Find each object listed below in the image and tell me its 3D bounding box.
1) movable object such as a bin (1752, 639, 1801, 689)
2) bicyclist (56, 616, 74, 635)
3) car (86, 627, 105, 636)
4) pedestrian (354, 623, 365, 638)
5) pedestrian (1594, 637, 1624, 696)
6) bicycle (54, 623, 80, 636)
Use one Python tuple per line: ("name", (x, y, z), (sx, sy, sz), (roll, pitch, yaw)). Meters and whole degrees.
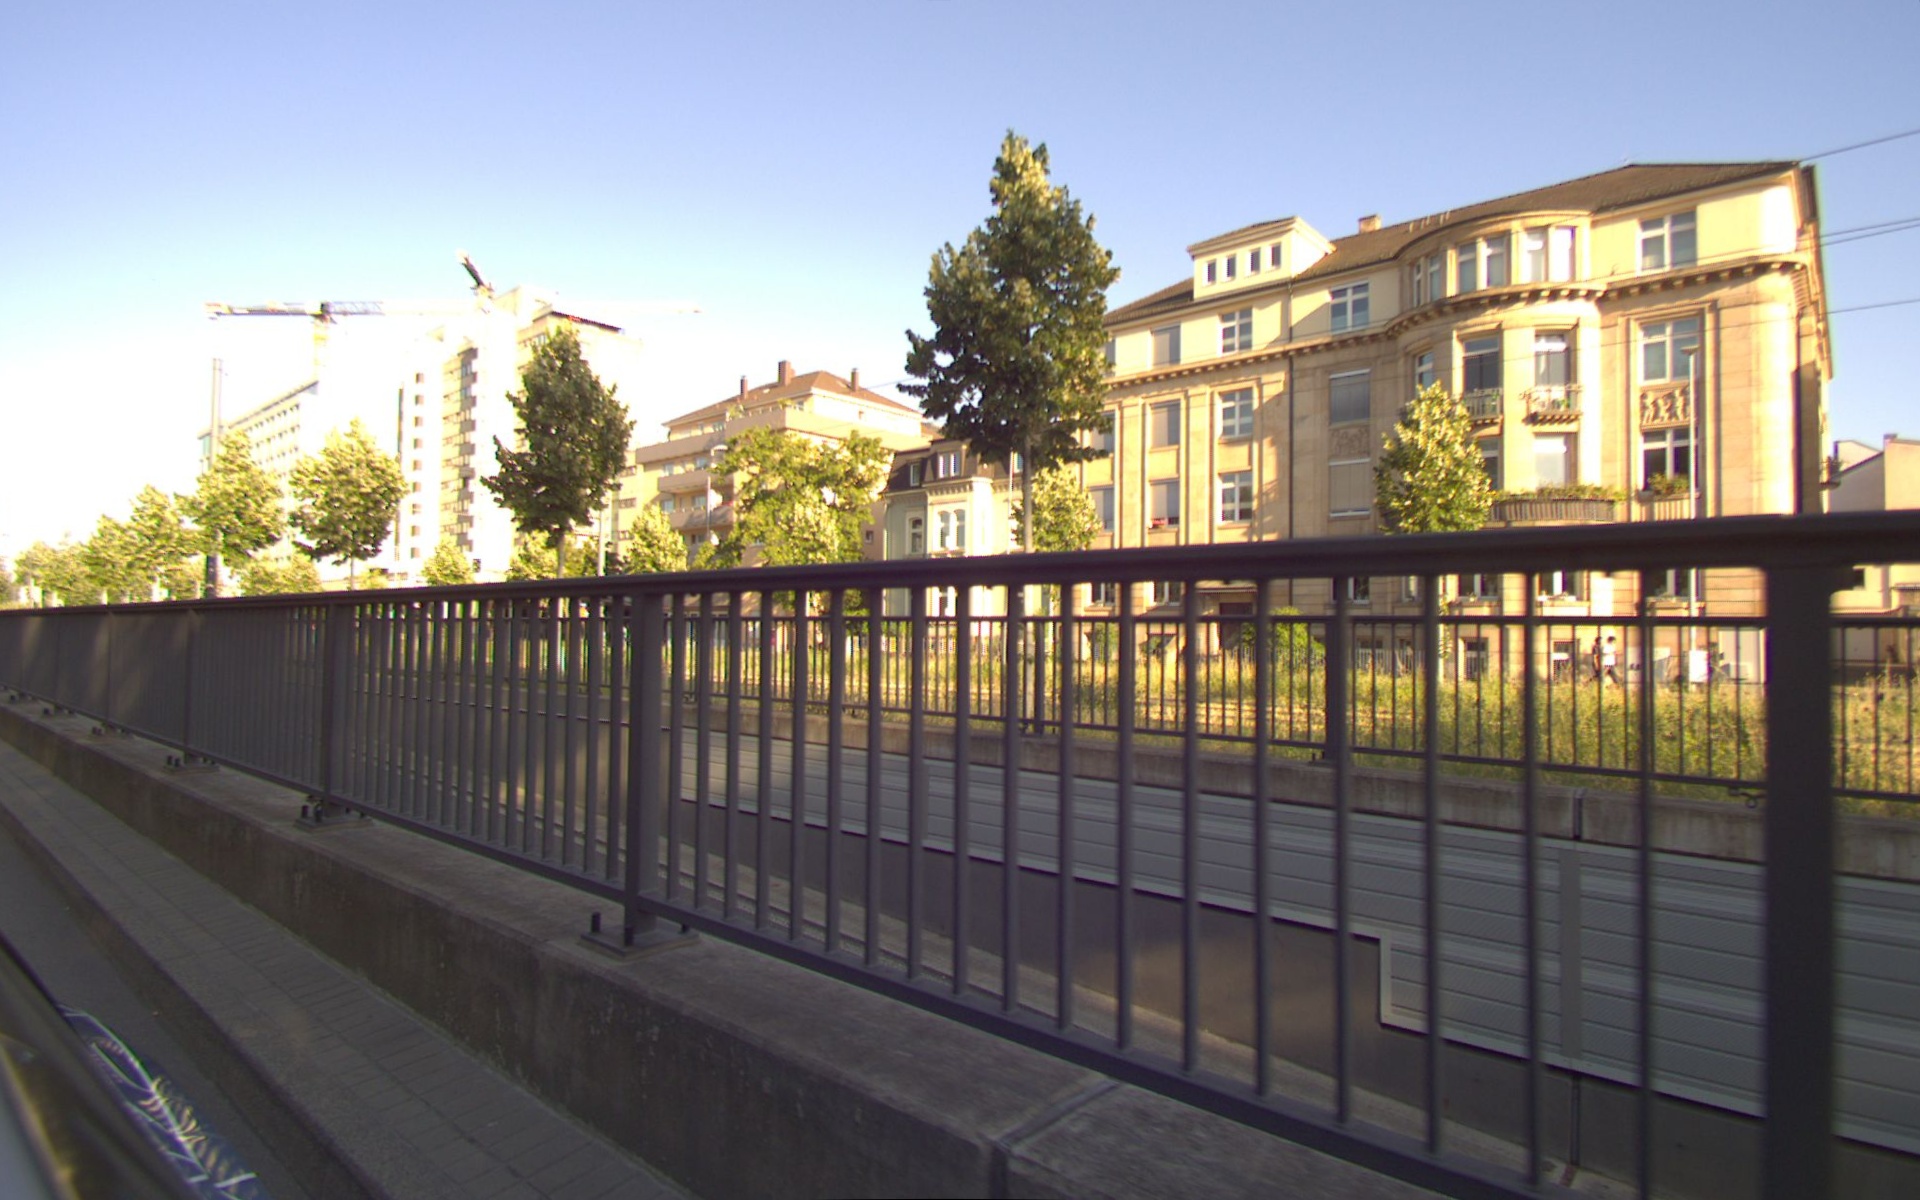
("movable object such as a bin", (24.340, 1.893, 30.167), (1.079, 1.440, 1.192), (-2, -3, 41))
("bicyclist", (-65.993, 1.890, 74.608), (0.710, 1.405, 0.732), (0, -2, 18))
("car", (-146.905, 5.378, 171.896), (4.660, 1.474, 1.757), (-1, -2, 41))
("pedestrian", (-68.479, 3.496, 115.424), (0.882, 1.652, 0.766), (-1, -3, 41))
("pedestrian", (19.313, 1.971, 30.102), (0.652, 1.733, 0.549), (-1, -3, 41))
("bicycle", (-65.928, 2.169, 74.717), (2.015, 0.898, 0.503), (0, -2, 19))
